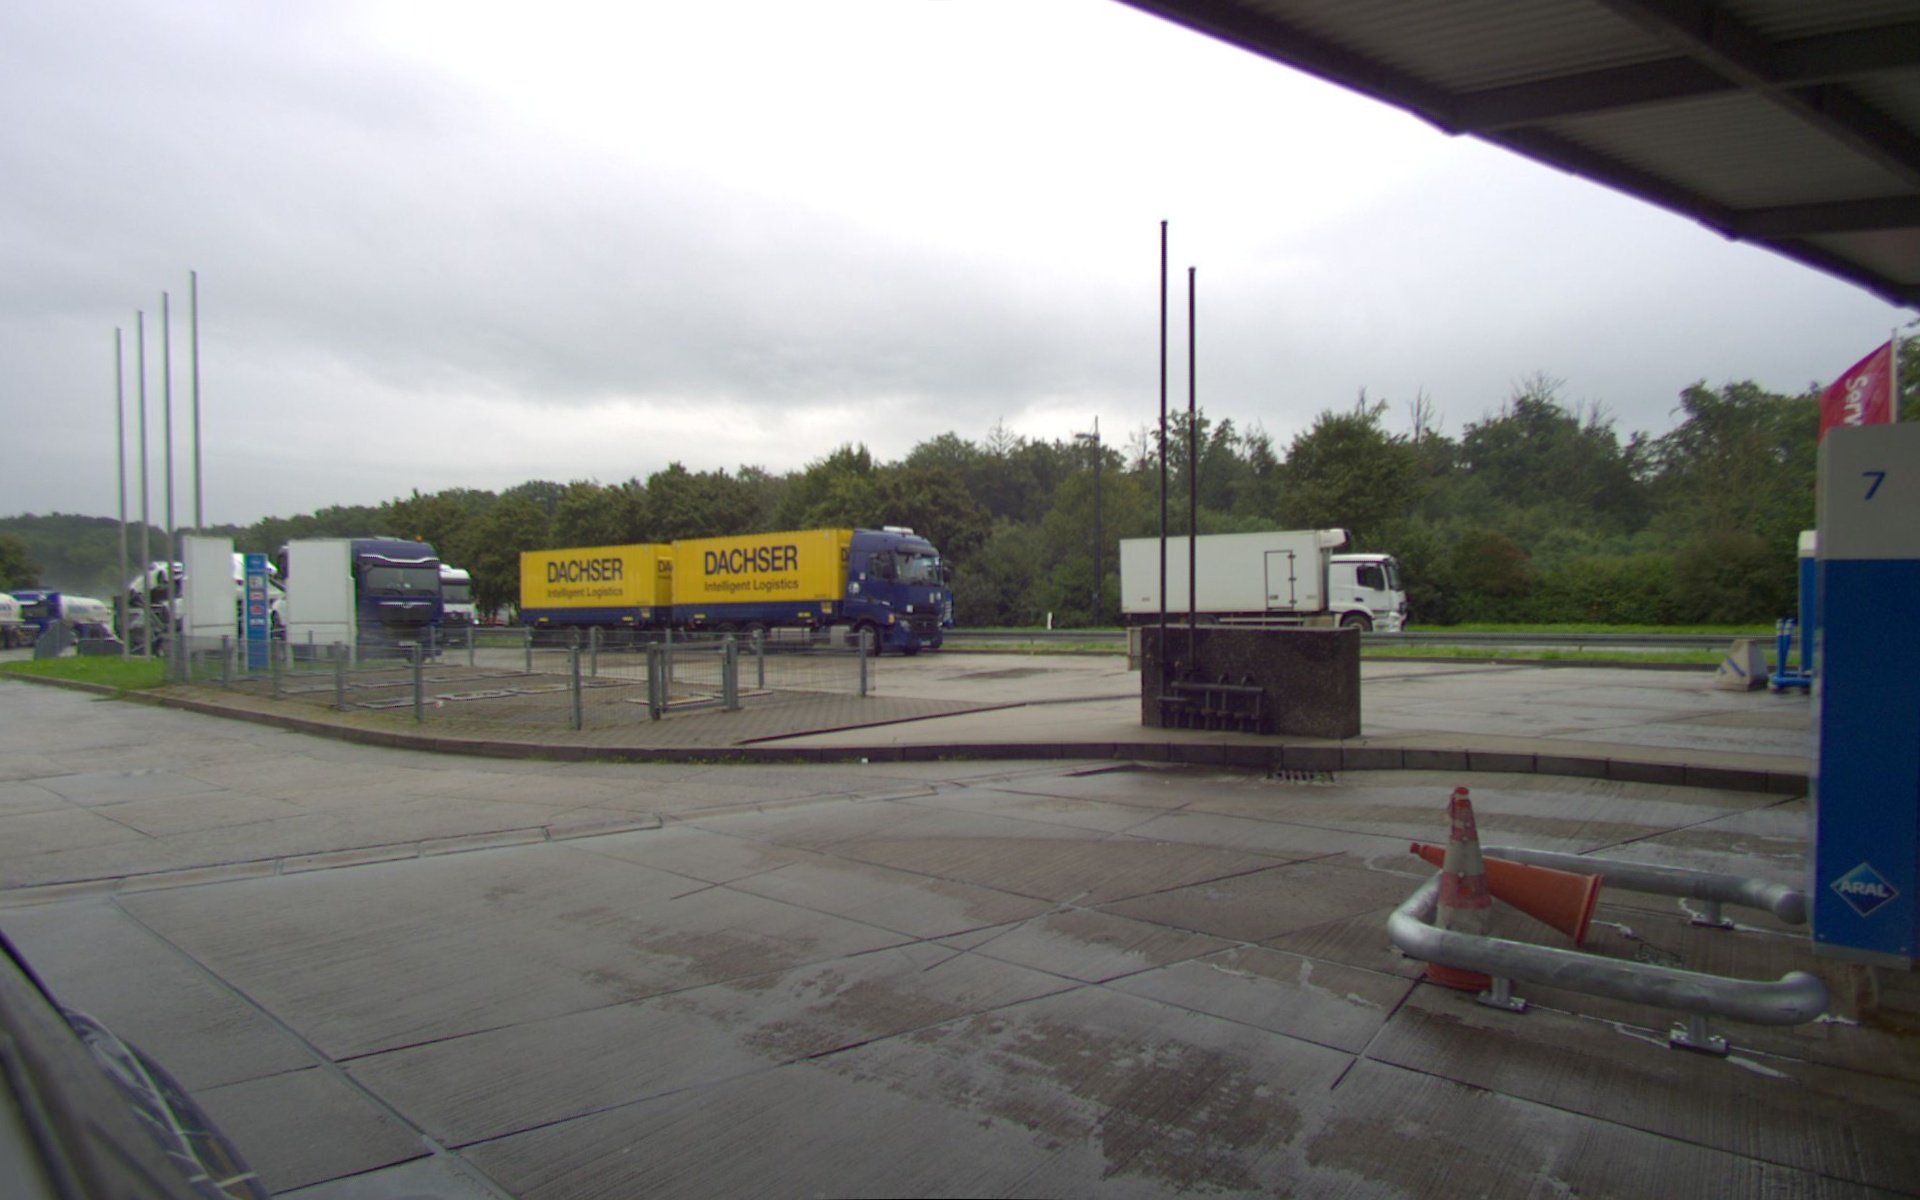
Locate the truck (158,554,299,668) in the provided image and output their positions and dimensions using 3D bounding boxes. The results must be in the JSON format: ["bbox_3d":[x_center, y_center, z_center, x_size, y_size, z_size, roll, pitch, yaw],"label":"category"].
[{"bbox_3d":[-26.091,0.395,36.070,4.738,3.800,2.635,-1,0,34],"label":"truck"}]

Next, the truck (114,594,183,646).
[{"bbox_3d":[-69.827,1.644,86.959,11.525,4.160,3.101,-1,0,44],"label":"truck"}]

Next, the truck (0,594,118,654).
[{"bbox_3d":[-61.474,1.622,68.656,3.454,3.633,14.709,-1,-1,-27],"label":"truck"}]

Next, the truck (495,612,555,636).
[{"bbox_3d":[-40.175,2.201,93.336,5.810,2.140,2.061,-1,0,31],"label":"truck"}]

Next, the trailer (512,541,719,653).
[{"bbox_3d":[-13.482,-0.073,39.253,8.679,3.946,2.728,-1,0,32],"label":"trailer"}]

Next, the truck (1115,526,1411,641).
[{"bbox_3d":[10.986,-0.515,37.440,10.195,3.836,2.395,-1,0,31],"label":"truck"}]

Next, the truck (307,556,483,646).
[{"bbox_3d":[-27.301,0.105,48.624,10.654,3.946,2.727,-1,0,33],"label":"truck"}]

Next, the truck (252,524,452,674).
[{"bbox_3d":[-18.993,0.011,31.473,7.089,4.213,2.635,-1,0,35],"label":"truck"}]

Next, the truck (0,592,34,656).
[{"bbox_3d":[-55.137,1.337,53.688,3.454,3.633,14.444,-1,-1,-19],"label":"truck"}]

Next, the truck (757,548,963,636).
[{"bbox_3d":[-4.861,-0.312,47.637,10.195,3.836,2.395,-1,0,31],"label":"truck"}]

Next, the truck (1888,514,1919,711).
[{"bbox_3d":[15.006,0.125,11.945,5.859,2.513,2.208,-1,0,41],"label":"truck"}]

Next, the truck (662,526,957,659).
[{"bbox_3d":[-5.321,-0.177,34.022,10.654,3.946,2.727,-1,0,33],"label":"truck"}]

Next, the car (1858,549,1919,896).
[{"bbox_3d":[6.923,0.542,3.792,5.269,1.620,1.842,-1,0,41],"label":"car"}]

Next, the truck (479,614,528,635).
[{"bbox_3d":[-45.826,2.423,101.624,4.913,2.029,1.980,-1,0,29],"label":"truck"}]

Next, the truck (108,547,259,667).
[{"bbox_3d":[-29.572,0.299,38.443,6.605,4.213,2.635,-1,0,35],"label":"truck"}]
